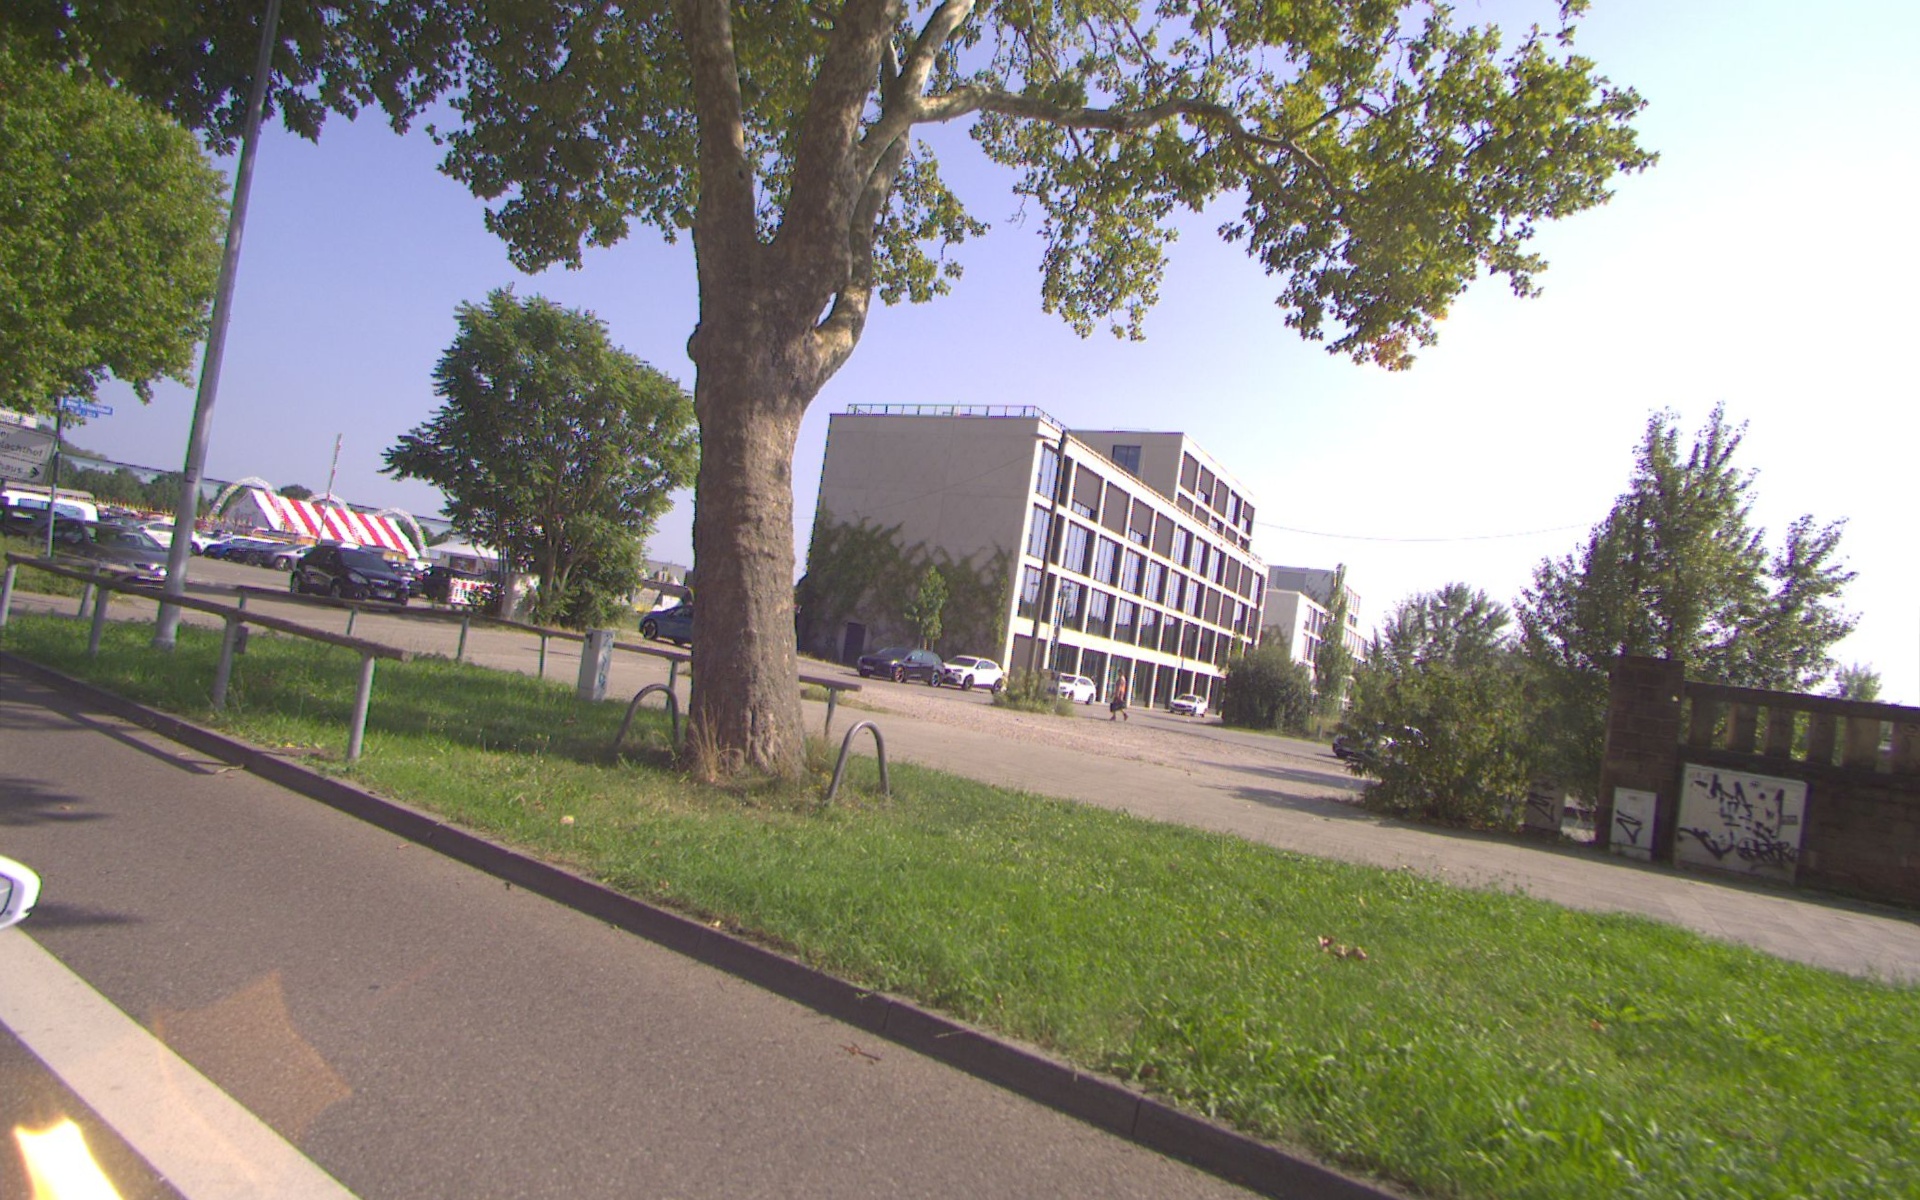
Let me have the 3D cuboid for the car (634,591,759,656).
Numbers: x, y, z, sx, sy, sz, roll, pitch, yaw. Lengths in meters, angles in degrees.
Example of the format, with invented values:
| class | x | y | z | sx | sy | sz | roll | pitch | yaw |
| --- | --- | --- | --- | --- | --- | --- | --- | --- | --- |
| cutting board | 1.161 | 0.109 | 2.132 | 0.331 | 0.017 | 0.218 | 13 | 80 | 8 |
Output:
| class | x | y | z | sx | sy | sz | roll | pitch | yaw |
| --- | --- | --- | --- | --- | --- | --- | --- | --- | --- |
| car | -9.328 | 0.816 | 35.571 | 3.886 | 1.592 | 1.711 | 8 | -3 | 25 |

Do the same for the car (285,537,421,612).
| class | x | y | z | sx | sy | sz | roll | pitch | yaw |
| --- | --- | --- | --- | --- | --- | --- | --- | --- | --- |
| car | -17.193 | -0.732 | 28.472 | 3.733 | 1.594 | 1.611 | 8 | -1 | 31 |

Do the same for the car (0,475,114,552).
| class | x | y | z | sx | sy | sz | roll | pitch | yaw |
| --- | --- | --- | --- | --- | --- | --- | --- | --- | --- |
| car | -29.276 | -2.810 | 31.238 | 1.818 | 1.941 | 4.109 | 8 | -1 | 34 |

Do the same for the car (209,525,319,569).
| class | x | y | z | sx | sy | sz | roll | pitch | yaw |
| --- | --- | --- | --- | --- | --- | --- | --- | --- | --- |
| car | -37.583 | -2.857 | 54.439 | 1.914 | 1.479 | 4.359 | 7 | -4 | 29 |

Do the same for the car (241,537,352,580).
| class | x | y | z | sx | sy | sz | roll | pitch | yaw |
| --- | --- | --- | --- | --- | --- | --- | --- | --- | --- |
| car | -35.171 | -2.174 | 53.424 | 1.916 | 1.480 | 4.400 | 7 | -3 | 35 |

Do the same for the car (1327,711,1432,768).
| class | x | y | z | sx | sy | sz | roll | pitch | yaw |
| --- | --- | --- | --- | --- | --- | --- | --- | --- | --- |
| car | 14.172 | 4.725 | 33.914 | 3.757 | 1.398 | 1.666 | 11 | -4 | -40 |

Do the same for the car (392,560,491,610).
| class | x | y | z | sx | sy | sz | roll | pitch | yaw |
| --- | --- | --- | --- | --- | --- | --- | --- | --- | --- |
| car | -22.526 | -0.648 | 43.665 | 4.047 | 1.509 | 1.819 | 7 | -3 | 31 |

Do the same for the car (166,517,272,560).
| class | x | y | z | sx | sy | sz | roll | pitch | yaw |
| --- | --- | --- | --- | --- | --- | --- | --- | --- | --- |
| car | -42.339 | -3.490 | 57.609 | 1.914 | 1.479 | 4.359 | 7 | -4 | 29 |

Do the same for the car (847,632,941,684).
| class | x | y | z | sx | sy | sz | roll | pitch | yaw |
| --- | --- | --- | --- | --- | --- | --- | --- | --- | --- |
| car | -2.522 | 2.303 | 39.445 | 1.717 | 1.500 | 3.798 | 8 | -4 | 29 |

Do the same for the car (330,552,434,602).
| class | x | y | z | sx | sy | sz | roll | pitch | yaw |
| --- | --- | --- | --- | --- | --- | --- | --- | --- | --- |
| car | -23.734 | -0.951 | 41.310 | 4.047 | 1.411 | 1.819 | 7 | -3 | 31 |

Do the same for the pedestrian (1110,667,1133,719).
| class | x | y | z | sx | sy | sz | roll | pitch | yaw |
| --- | --- | --- | --- | --- | --- | --- | --- | --- | --- |
| pedestrian | 5.177 | 2.983 | 32.349 | 0.510 | 1.597 | 0.501 | 8 | -1 | 9 |

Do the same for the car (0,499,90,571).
| class | x | y | z | sx | sy | sz | roll | pitch | yaw |
| --- | --- | --- | --- | --- | --- | --- | --- | --- | --- |
| car | -24.274 | -1.770 | 25.795 | 4.048 | 1.465 | 1.731 | 8 | -2 | 31 |

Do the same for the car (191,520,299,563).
| class | x | y | z | sx | sy | sz | roll | pitch | yaw |
| --- | --- | --- | --- | --- | --- | --- | --- | --- | --- |
| car | -39.419 | -3.194 | 55.557 | 1.914 | 1.479 | 4.359 | 7 | -4 | 29 |

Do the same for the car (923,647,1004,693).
| class | x | y | z | sx | sy | sz | roll | pitch | yaw |
| --- | --- | --- | --- | --- | --- | --- | --- | --- | --- |
| car | 0.195 | 3.083 | 43.729 | 1.678 | 1.460 | 3.796 | 8 | -4 | 31 |

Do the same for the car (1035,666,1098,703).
| class | x | y | z | sx | sy | sz | roll | pitch | yaw |
| --- | --- | --- | --- | --- | --- | --- | --- | --- | --- |
| car | 5.683 | 4.514 | 53.342 | 1.678 | 1.460 | 3.796 | 8 | -4 | 31 |

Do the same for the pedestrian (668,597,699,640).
| class | x | y | z | sx | sy | sz | roll | pitch | yaw |
| --- | --- | --- | --- | --- | --- | --- | --- | --- | --- |
| pedestrian | -11.361 | 0.754 | 41.339 | 0.921 | 1.661 | 0.697 | 8 | -1 | -26 |

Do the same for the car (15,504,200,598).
| class | x | y | z | sx | sy | sz | roll | pitch | yaw |
| --- | --- | --- | --- | --- | --- | --- | --- | --- | --- |
| car | -19.096 | -1.112 | 22.491 | 4.474 | 1.465 | 1.731 | 8 | -2 | 31 |

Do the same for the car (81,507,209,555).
| class | x | y | z | sx | sy | sz | roll | pitch | yaw |
| --- | --- | --- | --- | --- | --- | --- | --- | --- | --- |
| car | -39.777 | -3.346 | 49.228 | 1.914 | 1.480 | 4.357 | 7 | -3 | 29 |

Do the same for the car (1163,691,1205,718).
| class | x | y | z | sx | sy | sz | roll | pitch | yaw |
| --- | --- | --- | --- | --- | --- | --- | --- | --- | --- |
| car | 15.973 | 7.450 | 71.561 | 1.678 | 1.460 | 3.796 | 8 | -4 | 31 |
